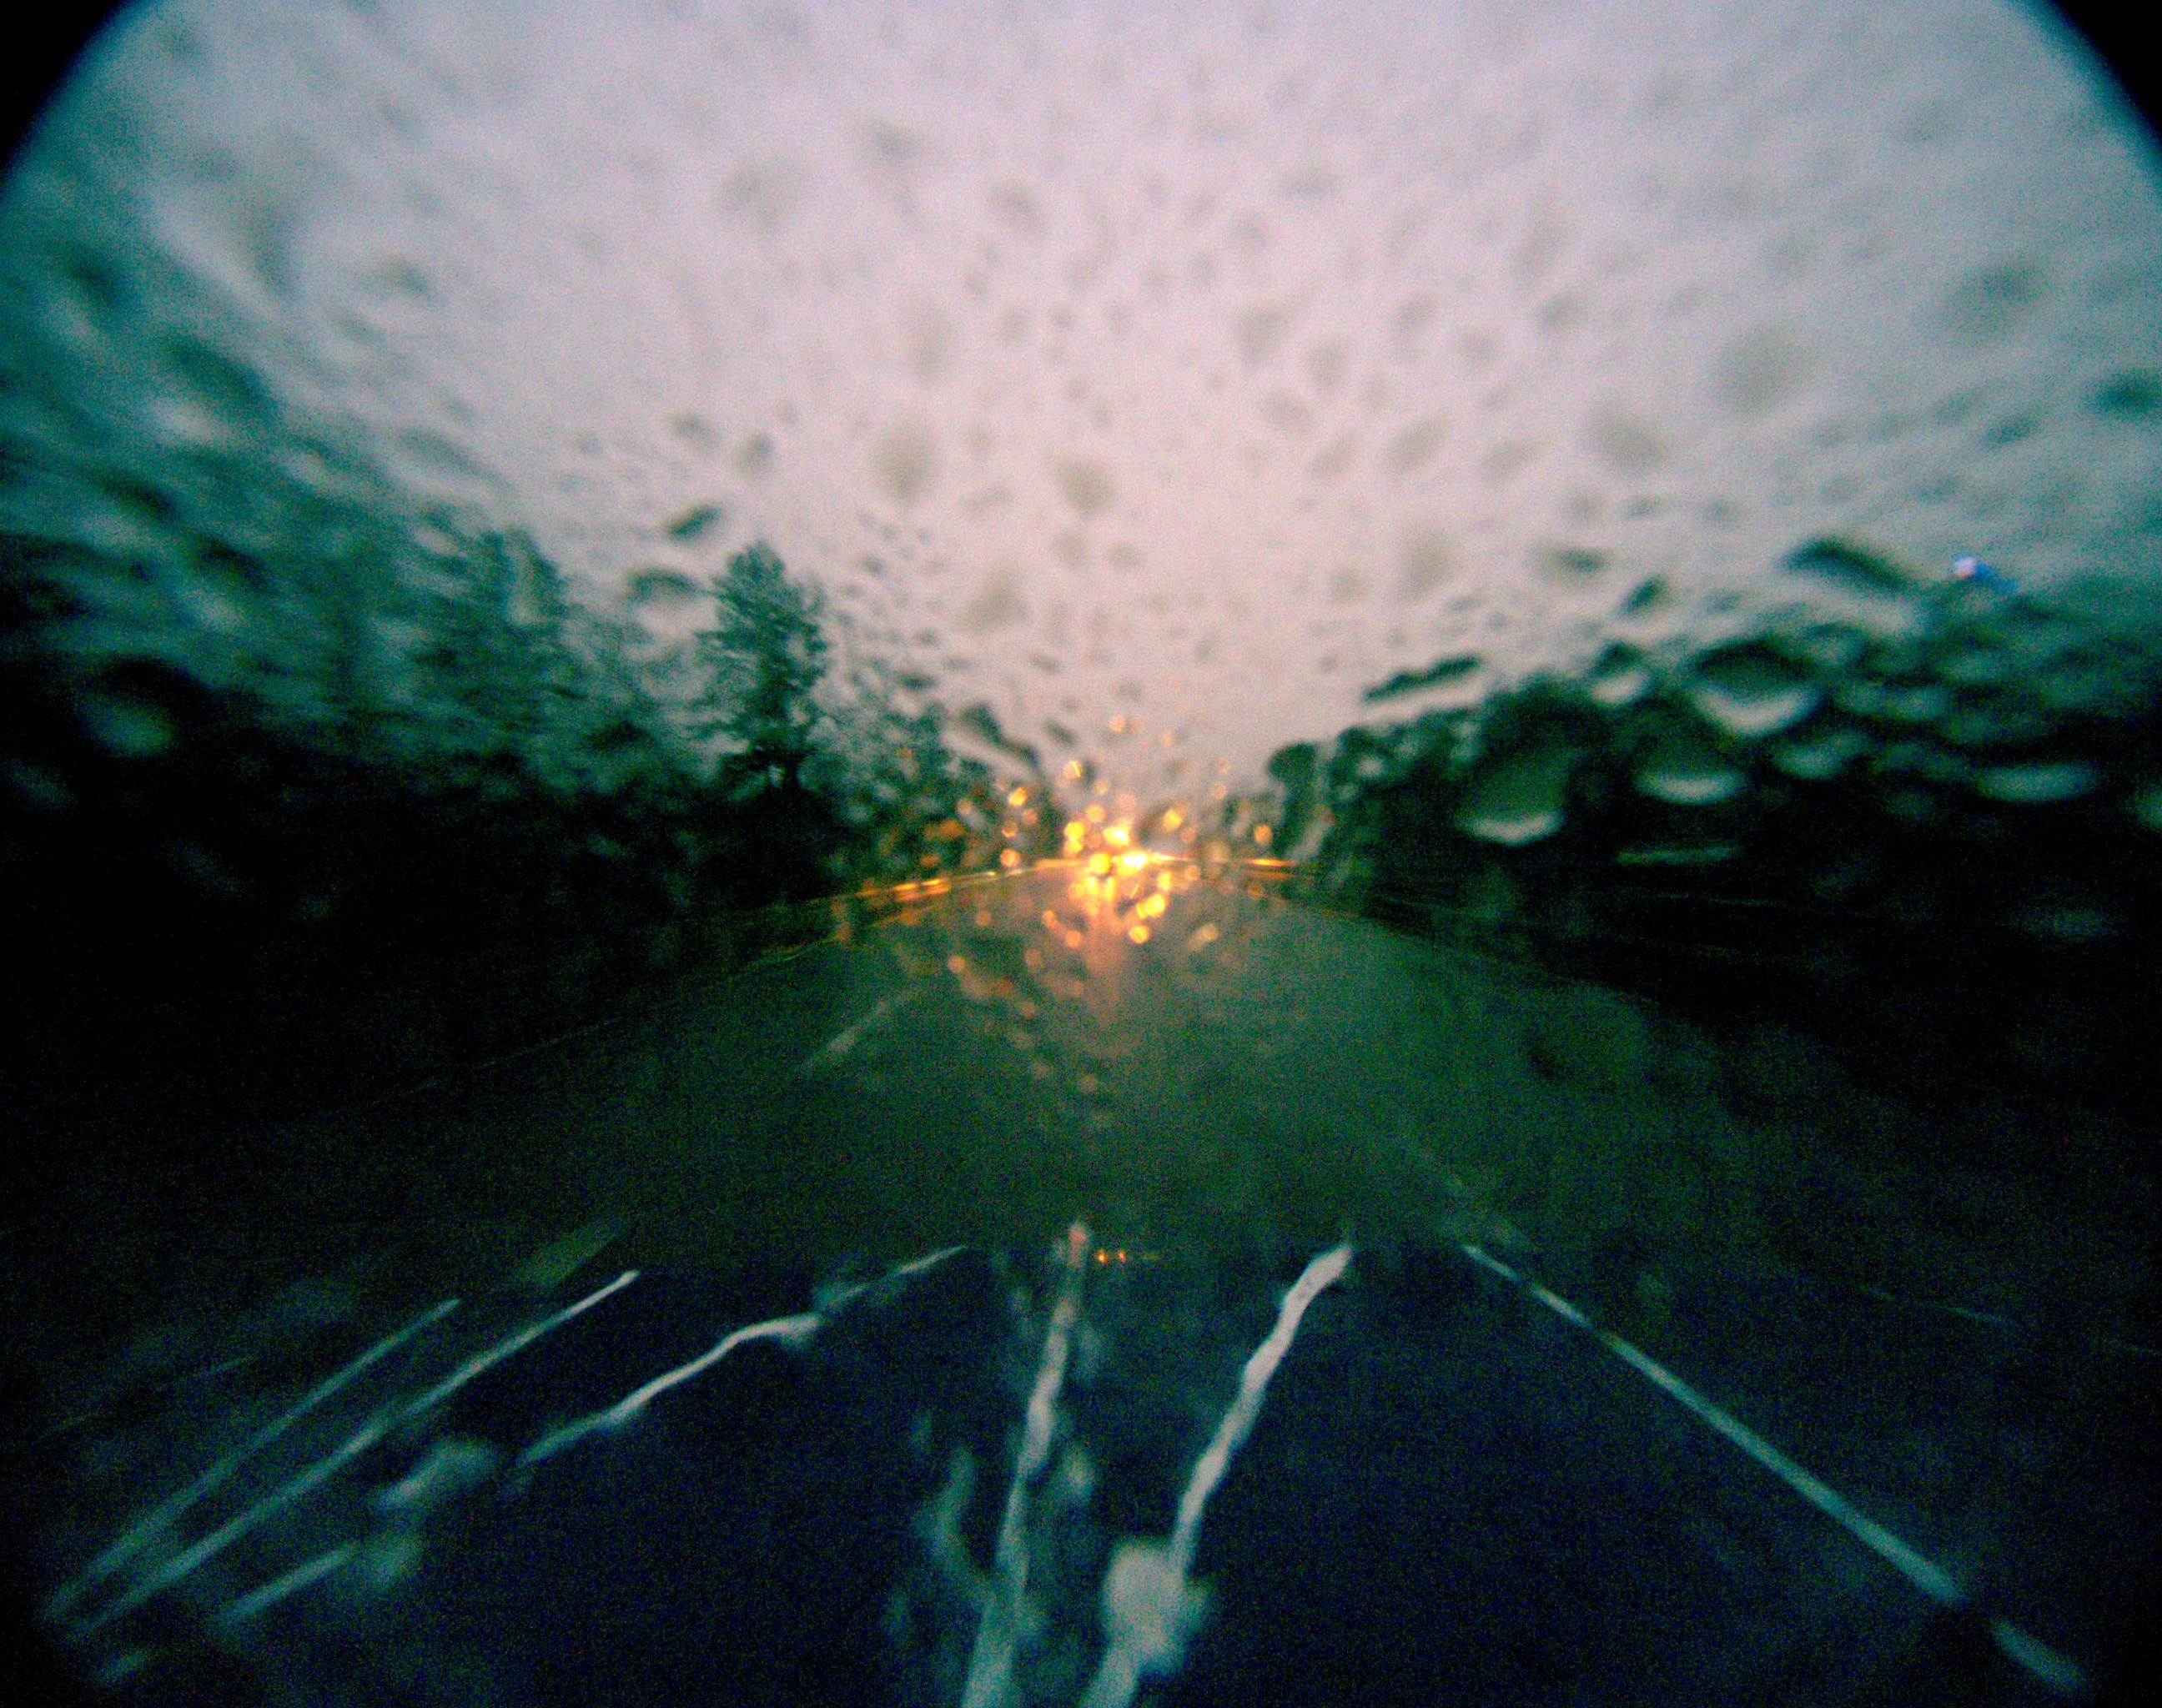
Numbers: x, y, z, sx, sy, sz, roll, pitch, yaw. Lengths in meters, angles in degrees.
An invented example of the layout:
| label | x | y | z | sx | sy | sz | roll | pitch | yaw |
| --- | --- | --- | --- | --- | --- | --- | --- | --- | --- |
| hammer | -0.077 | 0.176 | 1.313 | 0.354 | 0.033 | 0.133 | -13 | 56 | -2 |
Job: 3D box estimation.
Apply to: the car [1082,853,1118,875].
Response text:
| label | x | y | z | sx | sy | sz | roll | pitch | yaw |
| --- | --- | --- | --- | --- | --- | --- | --- | --- | --- |
| car | 1.422 | 0.683 | 54.912 | 1.951 | 1.511 | 4.790 | -2 | 0 | 8 |

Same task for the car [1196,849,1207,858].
| label | x | y | z | sx | sy | sz | roll | pitch | yaw |
| --- | --- | --- | --- | --- | --- | --- | --- | --- | --- |
| car | 24.487 | -0.081 | 154.431 | 1.647 | 1.775 | 4.208 | -4 | 0 | 4 |

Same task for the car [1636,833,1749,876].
| label | x | y | z | sx | sy | sz | roll | pitch | yaw |
| --- | --- | --- | --- | --- | --- | --- | --- | --- | --- |
| car | 28.729 | 0.041 | 35.824 | 3.990 | 1.675 | 1.856 | -4 | 0 | 38 |
